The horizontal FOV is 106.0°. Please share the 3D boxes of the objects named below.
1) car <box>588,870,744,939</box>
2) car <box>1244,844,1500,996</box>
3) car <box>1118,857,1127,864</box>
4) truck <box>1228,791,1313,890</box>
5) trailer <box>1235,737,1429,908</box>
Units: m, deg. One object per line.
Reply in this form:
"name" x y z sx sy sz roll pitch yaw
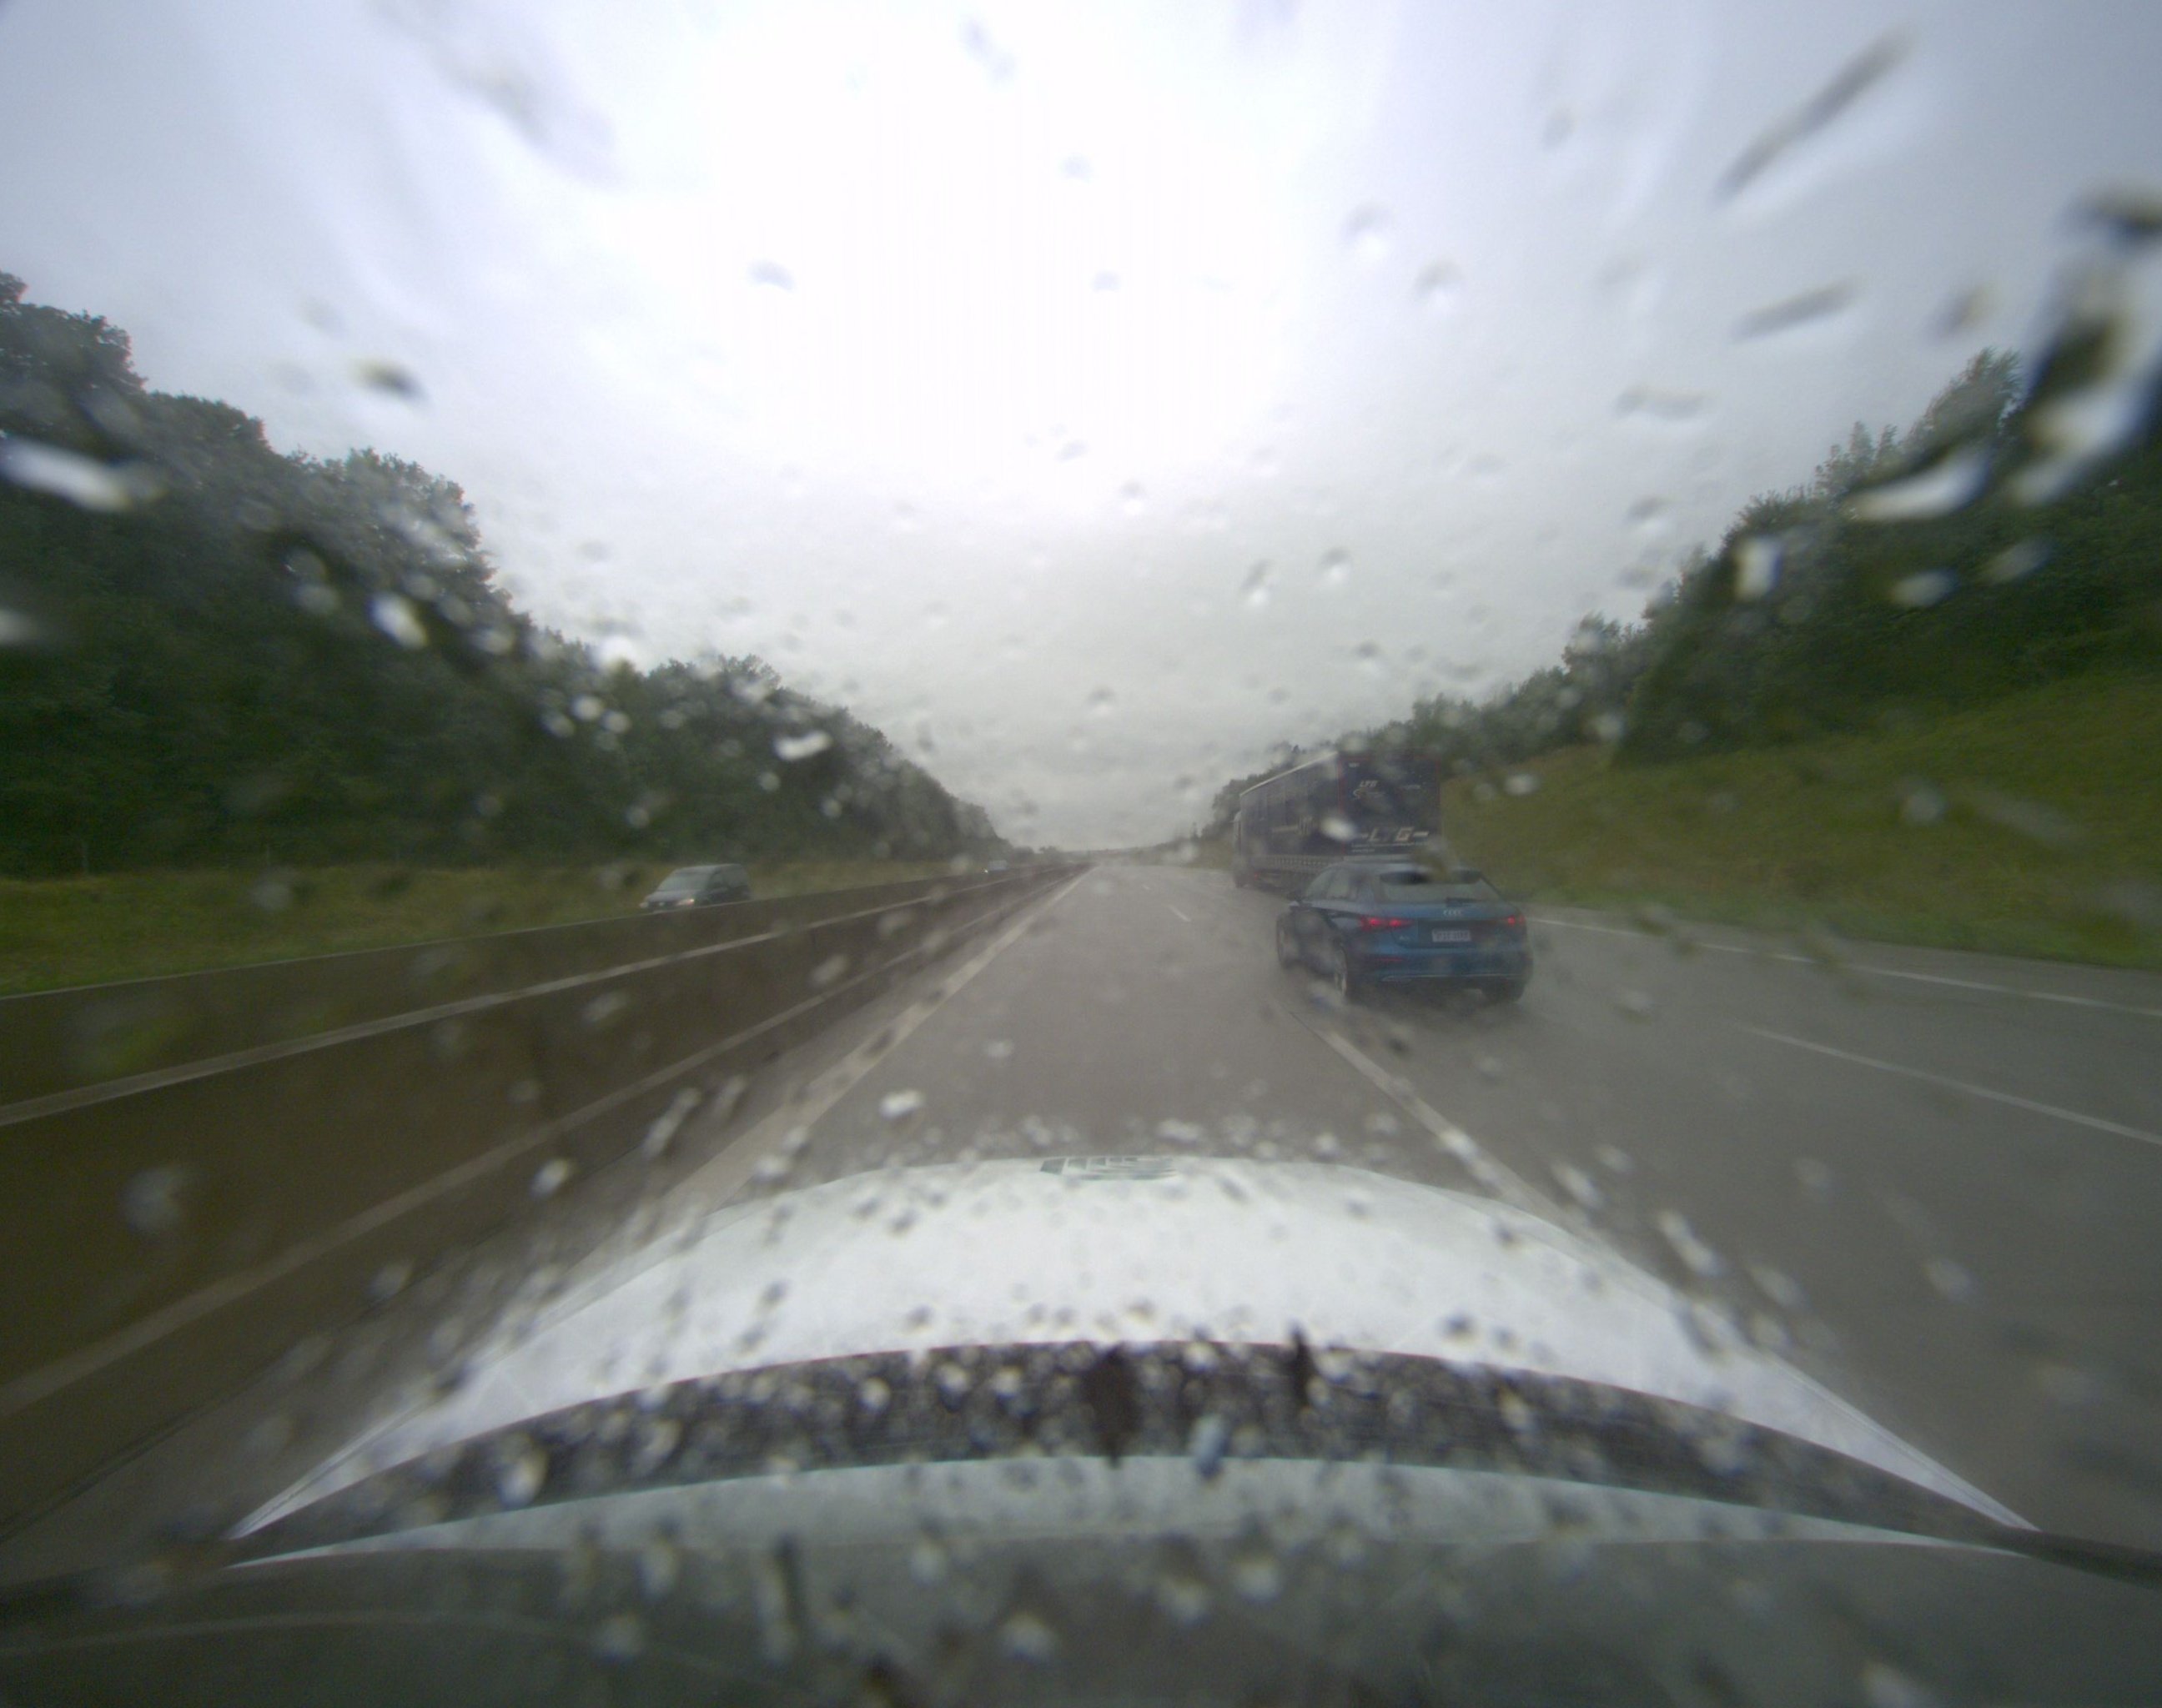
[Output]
"car" -11.840 1.370 23.683 1.872 1.665 4.690 -3 -1 3
"car" 3.395 0.706 10.538 1.723 1.459 4.674 -2 -1 2
"car" 9.252 1.400 181.047 1.840 1.331 4.432 -2 0 2
"truck" 8.170 -0.541 35.804 2.626 3.954 5.689 -1 0 2
"trailer" 7.892 -0.779 28.567 2.696 4.379 15.213 -1 0 2
